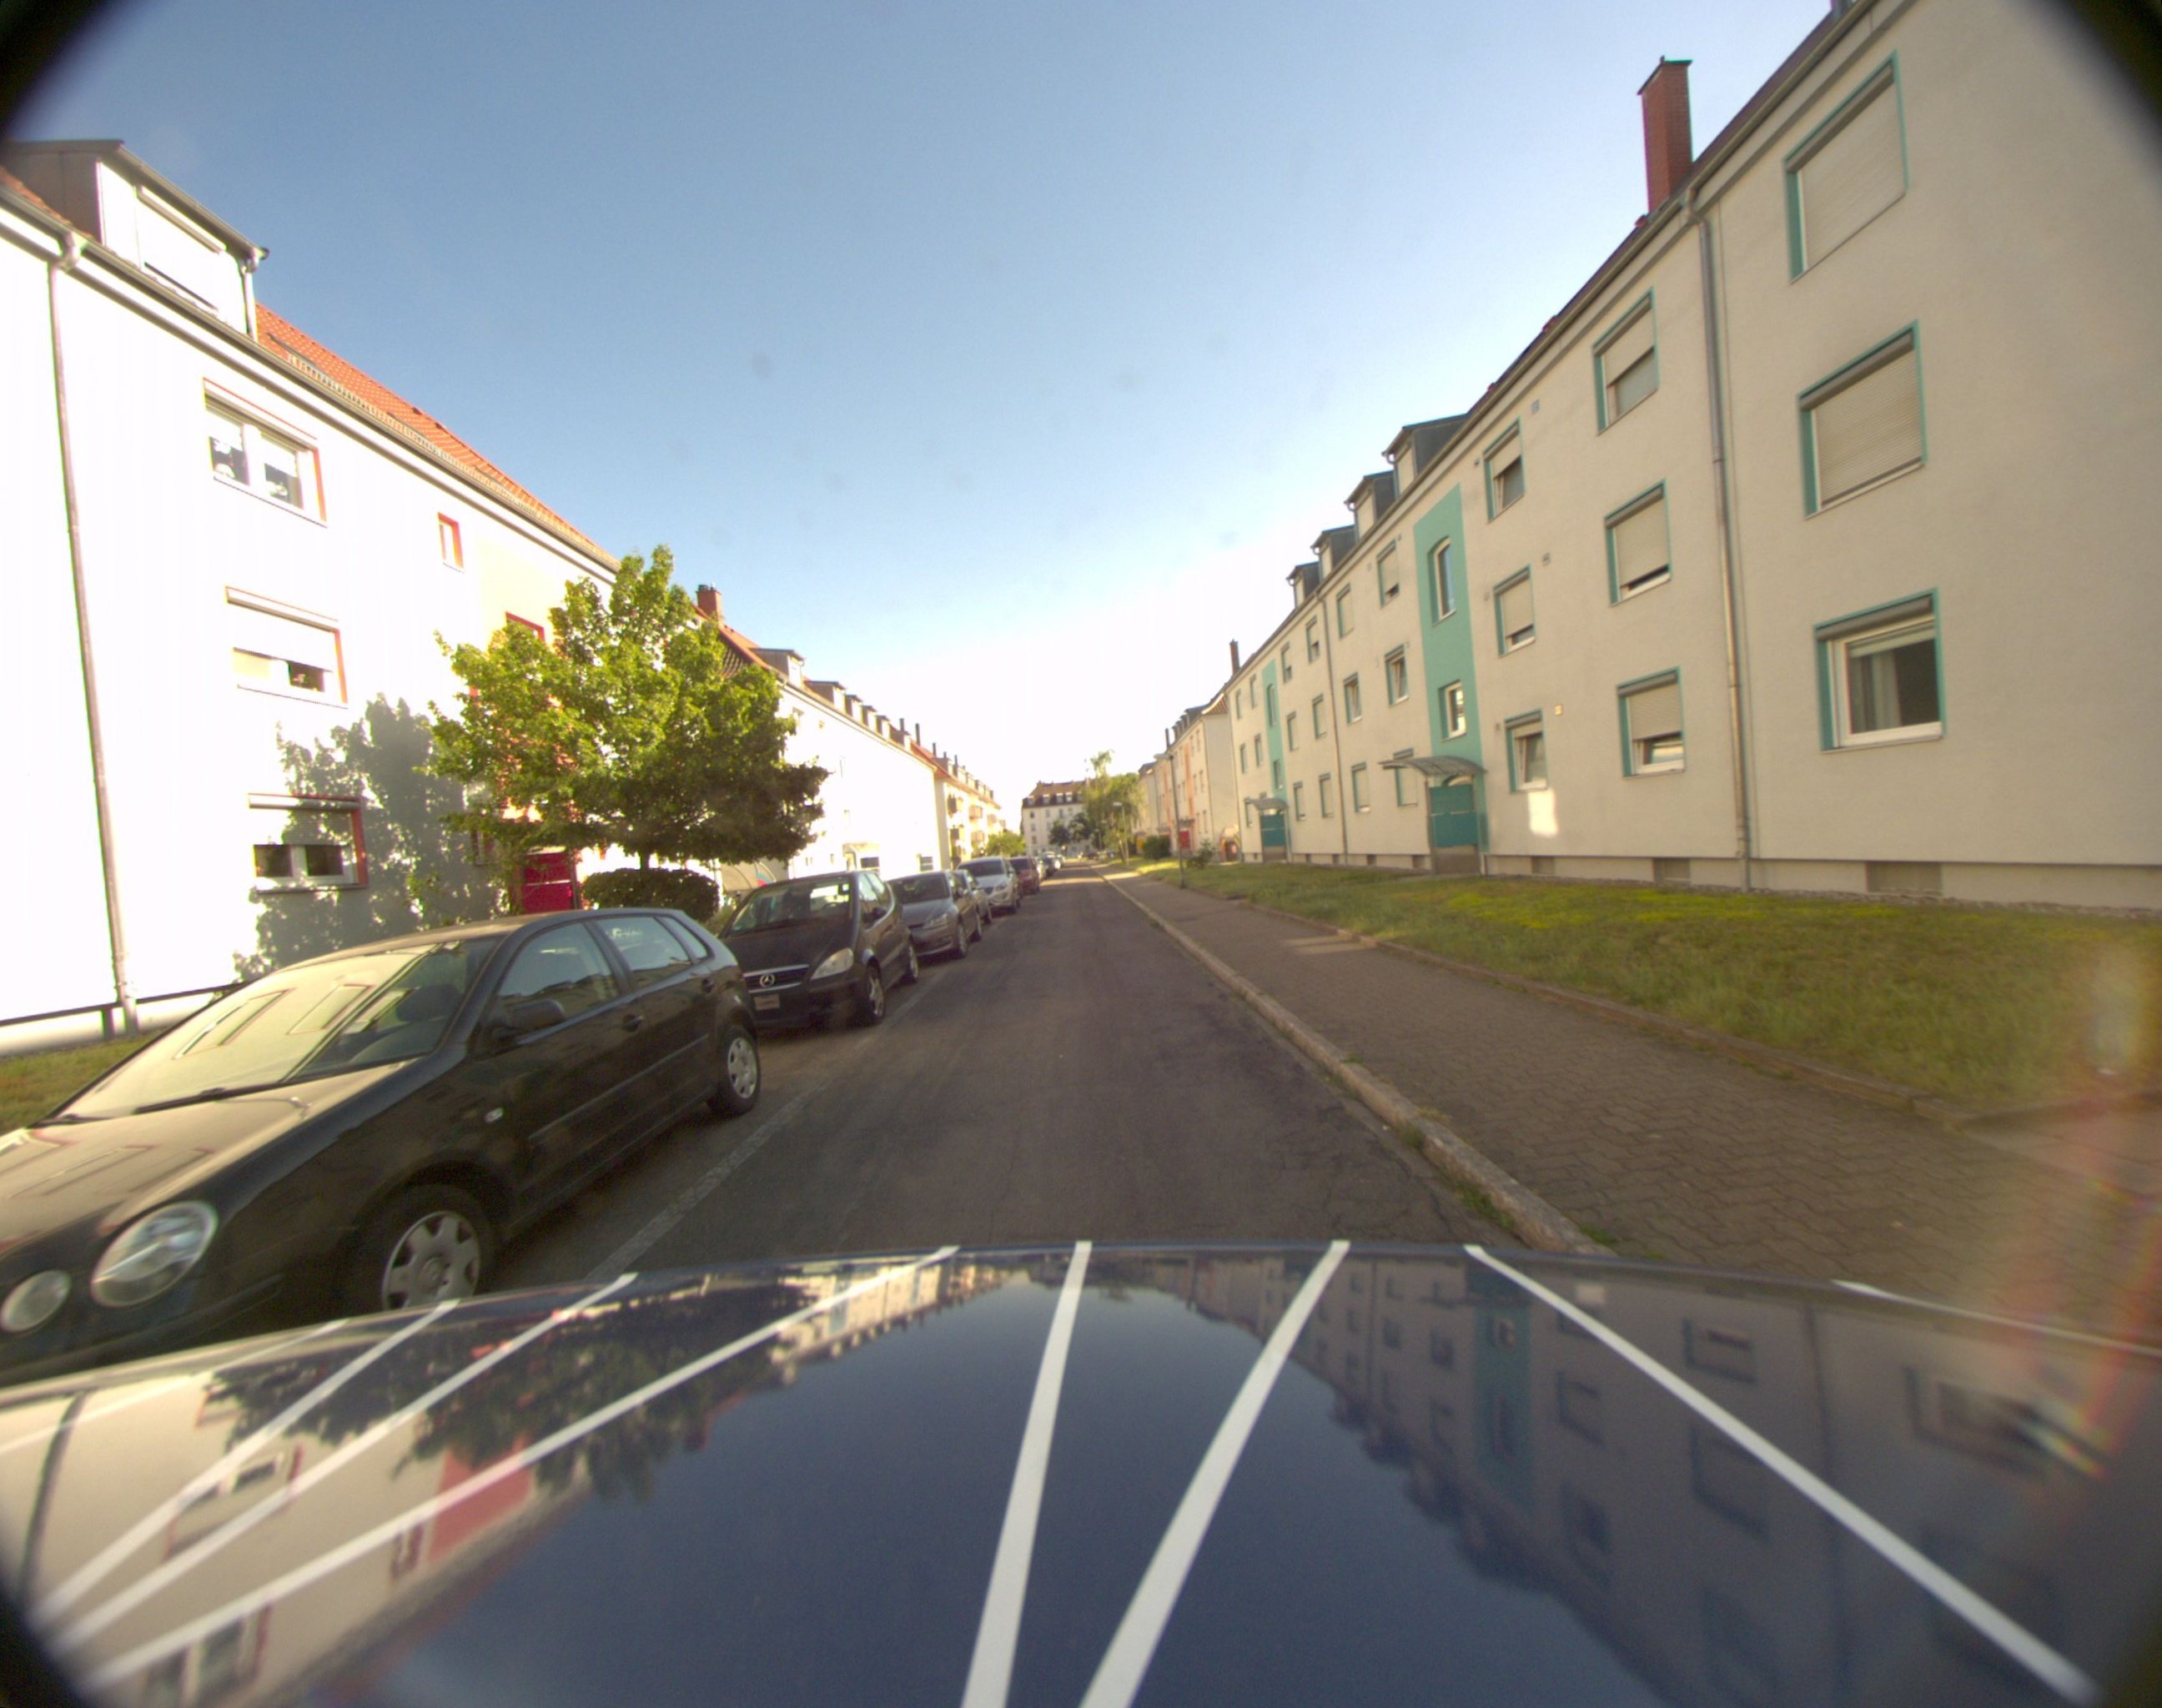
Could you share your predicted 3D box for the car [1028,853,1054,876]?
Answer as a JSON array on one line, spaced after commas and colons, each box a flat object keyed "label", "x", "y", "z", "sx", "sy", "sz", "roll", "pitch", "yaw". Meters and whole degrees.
[{"label": "car", "x": -3.013, "y": 0.759, "z": 57.757, "sx": 1.709, "sy": 1.562, "sz": 4.040, "roll": -4, "pitch": 0, "yaw": 0}]

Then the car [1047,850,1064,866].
[{"label": "car", "x": -2.989, "y": 0.419, "z": 88.921, "sx": 1.709, "sy": 1.562, "sz": 4.734, "roll": -4, "pitch": 1, "yaw": 0}]

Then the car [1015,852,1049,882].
[{"label": "car", "x": -2.951, "y": 0.760, "z": 46.407, "sx": 1.709, "sy": 1.562, "sz": 3.875, "roll": -4, "pitch": 1, "yaw": 0}]

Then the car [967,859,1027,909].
[{"label": "car", "x": -2.966, "y": 1.016, "z": 27.483, "sx": 1.621, "sy": 1.440, "sz": 3.856, "roll": -7, "pitch": 1, "yaw": -1}]

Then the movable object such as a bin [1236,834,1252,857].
[{"label": "movable object such as a bin", "x": 10.354, "y": -0.547, "z": 48.395, "sx": 0.753, "sy": 1.385, "sz": 0.763, "roll": -4, "pitch": 1, "yaw": 0}]

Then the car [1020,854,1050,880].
[{"label": "car", "x": -3.080, "y": 0.854, "z": 51.896, "sx": 1.709, "sy": 1.562, "sz": 4.040, "roll": -4, "pitch": 0, "yaw": 0}]

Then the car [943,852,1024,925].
[{"label": "car", "x": -2.695, "y": 0.896, "z": 21.996, "sx": 1.780, "sy": 1.709, "sz": 4.306, "roll": -7, "pitch": 1, "yaw": -2}]

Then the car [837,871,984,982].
[{"label": "car", "x": -2.707, "y": 1.088, "z": 12.948, "sx": 1.633, "sy": 1.441, "sz": 3.951, "roll": -4, "pitch": 0, "yaw": -2}]

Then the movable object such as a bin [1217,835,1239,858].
[{"label": "movable object such as a bin", "x": 9.357, "y": -0.470, "z": 48.355, "sx": 1.167, "sy": 1.385, "sz": 0.877, "roll": -4, "pitch": 1, "yaw": 0}]

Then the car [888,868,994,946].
[{"label": "car", "x": -3.049, "y": 1.102, "z": 17.158, "sx": 1.632, "sy": 1.386, "sz": 3.488, "roll": -4, "pitch": 0, "yaw": 0}]

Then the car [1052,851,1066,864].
[{"label": "car", "x": -3.117, "y": 0.511, "z": 106.448, "sx": 1.709, "sy": 1.562, "sz": 3.925, "roll": -4, "pitch": 1, "yaw": 0}]

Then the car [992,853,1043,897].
[{"label": "car", "x": -2.680, "y": 0.851, "z": 33.017, "sx": 1.732, "sy": 1.597, "sz": 4.423, "roll": -4, "pitch": 0, "yaw": 0}]

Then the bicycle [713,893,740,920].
[{"label": "bicycle", "x": -13.467, "y": 1.985, "z": 28.890, "sx": 0.319, "sy": 0.940, "sz": 1.283, "roll": -3, "pitch": 1, "yaw": 2}]

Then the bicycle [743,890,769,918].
[{"label": "bicycle", "x": -12.277, "y": 1.890, "z": 28.737, "sx": 0.319, "sy": 0.940, "sz": 1.283, "roll": -3, "pitch": 1, "yaw": 2}]

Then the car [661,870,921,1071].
[{"label": "car", "x": -2.925, "y": 1.054, "z": 8.494, "sx": 1.622, "sy": 1.541, "sz": 3.609, "roll": -5, "pitch": 1, "yaw": -4}]

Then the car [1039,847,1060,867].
[{"label": "car", "x": -3.389, "y": 0.316, "z": 83.268, "sx": 1.953, "sy": 1.890, "sz": 4.763, "roll": -4, "pitch": 1, "yaw": 0}]

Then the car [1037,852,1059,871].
[{"label": "car", "x": -3.172, "y": 0.746, "z": 73.886, "sx": 1.708, "sy": 1.562, "sz": 4.381, "roll": -4, "pitch": 1, "yaw": 3}]

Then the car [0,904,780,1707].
[{"label": "car", "x": -2.979, "y": 1.204, "z": 3.448, "sx": 1.577, "sy": 1.409, "sz": 3.787, "roll": -11, "pitch": 1, "yaw": -2}]
